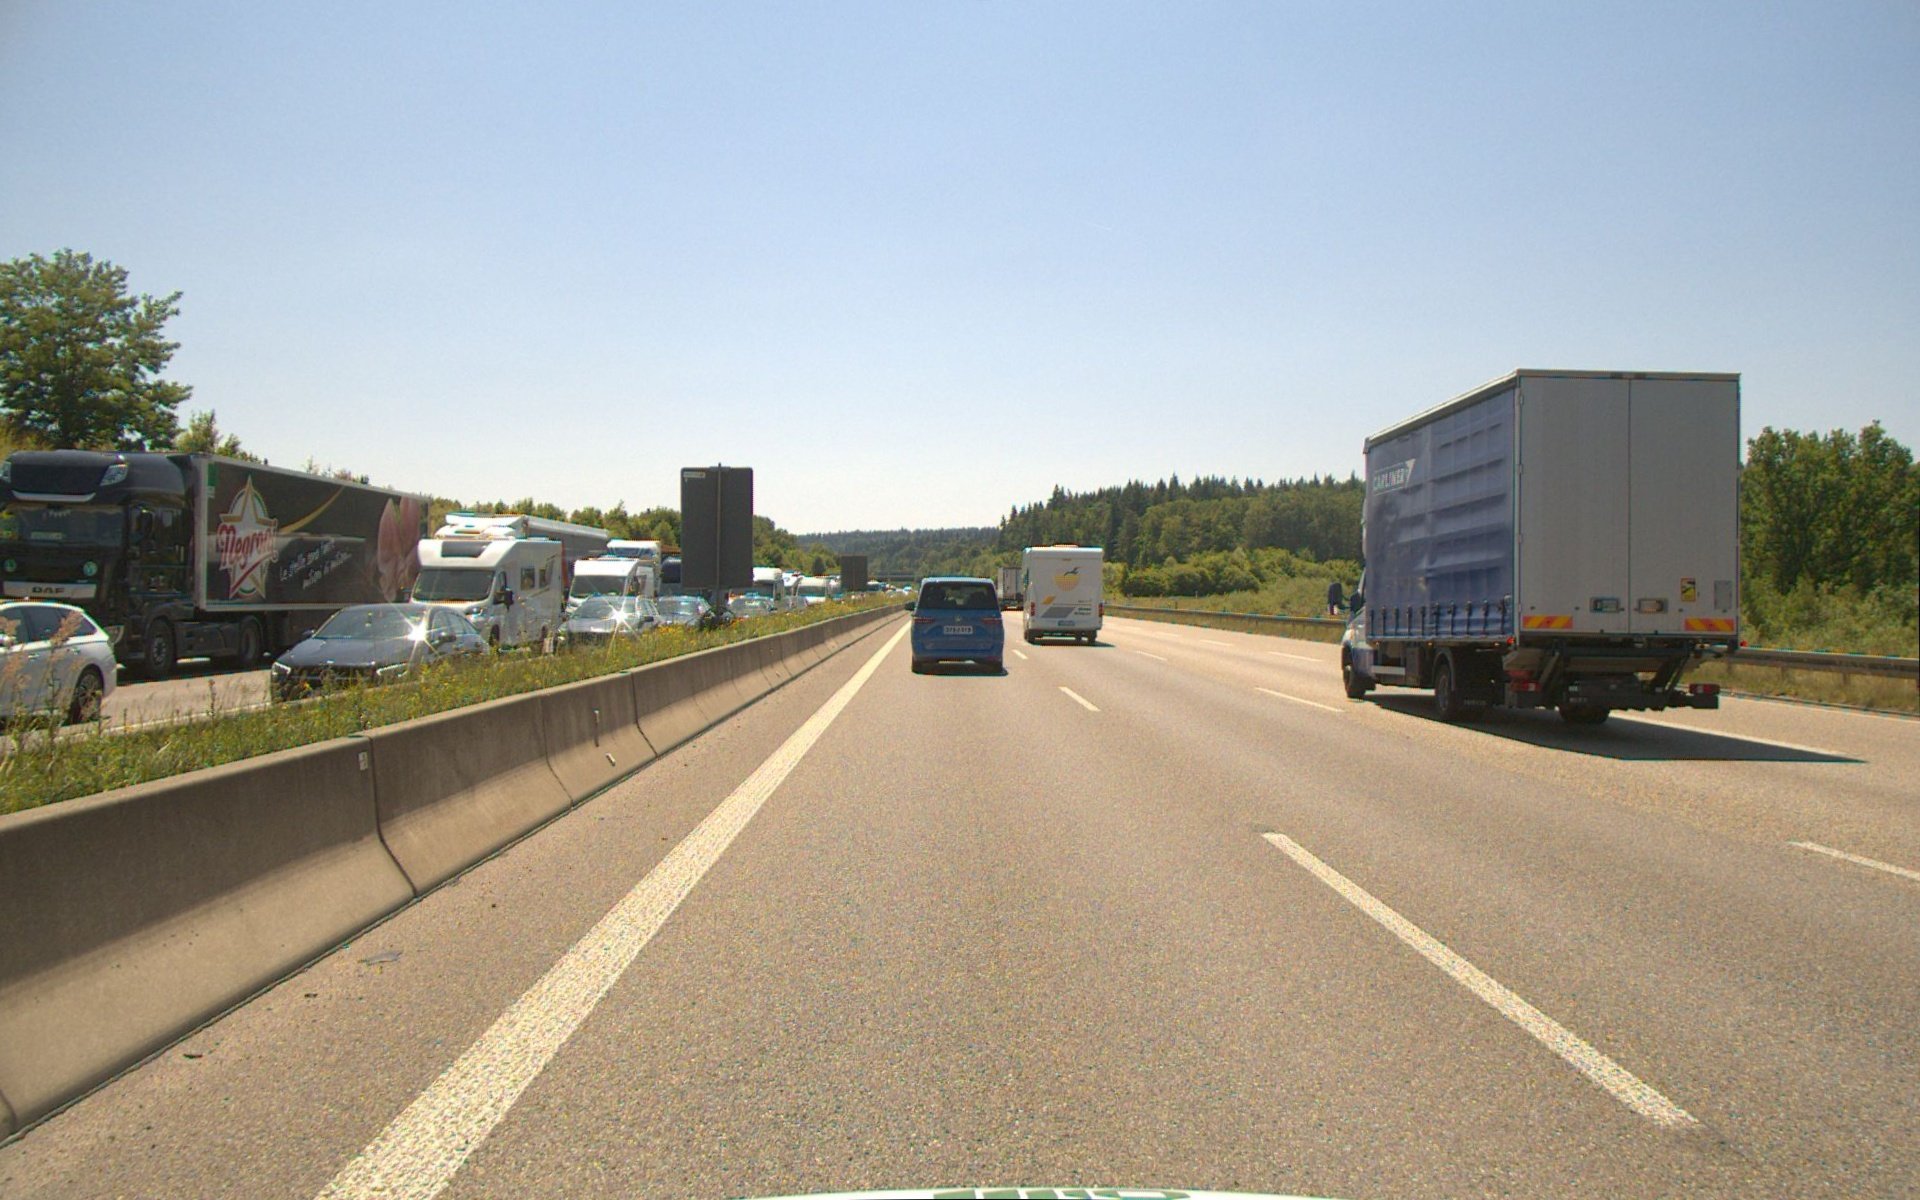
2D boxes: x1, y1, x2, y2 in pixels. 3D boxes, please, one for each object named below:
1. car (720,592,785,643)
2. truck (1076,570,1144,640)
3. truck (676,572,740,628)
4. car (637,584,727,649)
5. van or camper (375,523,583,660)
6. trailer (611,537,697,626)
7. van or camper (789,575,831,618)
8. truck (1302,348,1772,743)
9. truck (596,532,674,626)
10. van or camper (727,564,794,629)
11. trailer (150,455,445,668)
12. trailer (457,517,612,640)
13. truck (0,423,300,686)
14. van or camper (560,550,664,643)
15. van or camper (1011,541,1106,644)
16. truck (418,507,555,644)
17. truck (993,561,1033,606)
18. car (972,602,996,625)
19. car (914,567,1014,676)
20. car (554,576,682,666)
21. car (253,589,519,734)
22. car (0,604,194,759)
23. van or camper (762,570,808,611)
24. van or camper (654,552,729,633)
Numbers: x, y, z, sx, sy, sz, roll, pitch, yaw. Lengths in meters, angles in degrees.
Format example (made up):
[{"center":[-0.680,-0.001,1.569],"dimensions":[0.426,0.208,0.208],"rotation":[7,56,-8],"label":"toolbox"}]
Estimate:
[{"center":[-7.471,0.628,60.036],"dimensions":[1.775,1.760,4.934],"rotation":[1,0,-1],"label":"car"},{"center":[8.201,0.211,91.439],"dimensions":[2.868,3.637,8.526],"rotation":[-1,1,0],"label":"truck"},{"center":[-12.112,0.007,80.027],"dimensions":[2.189,2.549,6.860],"rotation":[0,0,-1],"label":"truck"},{"center":[-7.932,0.455,47.623],"dimensions":[1.775,1.760,4.972],"rotation":[1,0,-1],"label":"car"},{"center":[-11.587,-0.174,40.717],"dimensions":[2.784,3.000,8.111],"rotation":[1,0,-1],"label":"van or camper"},{"center":[-16.176,-0.917,88.306],"dimensions":[2.559,4.386,11.997],"rotation":[1,0,-1],"label":"trailer"},{"center":[-9.196,-0.198,101.779],"dimensions":[2.148,2.550,6.056],"rotation":[0,0,-1],"label":"van or camper"},{"center":[7.219,-0.568,22.655],"dimensions":[2.727,4.200,9.736],"rotation":[1,0,-2],"label":"truck"},{"center":[-16.037,-0.991,82.102],"dimensions":[2.537,4.401,7.290],"rotation":[1,0,-2],"label":"truck"},{"center":[-8.249,-0.129,68.961],"dimensions":[2.148,2.585,6.415],"rotation":[0,0,-1],"label":"van or camper"},{"center":[-15.269,-0.773,39.341],"dimensions":[2.732,4.315,10.790],"rotation":[1,0,-1],"label":"trailer"},{"center":[-15.606,-0.695,61.844],"dimensions":[2.724,4.104,12.248],"rotation":[1,0,-1],"label":"trailer"},{"center":[-15.159,-0.753,31.122],"dimensions":[2.725,4.380,7.028],"rotation":[0,0,-1],"label":"truck"},{"center":[-11.926,-0.092,57.177],"dimensions":[2.107,2.974,7.223],"rotation":[1,0,-1],"label":"van or camper"},{"center":[3.153,-0.256,54.460],"dimensions":[2.550,3.132,7.181],"rotation":[1,0,-1],"label":"van or camper"},{"center":[-15.492,-0.753,54.565],"dimensions":[2.744,4.200,6.140],"rotation":[1,0,-1],"label":"truck"},{"center":[5.110,-1.534,160.464],"dimensions":[3.416,4.243,8.640],"rotation":[1,0,-1],"label":"truck"},{"center":[1.945,1.061,135.295],"dimensions":[1.781,1.825,3.893],"rotation":[1,0,-1],"label":"car"},{"center":[0.041,0.388,34.197],"dimensions":[1.870,2.048,3.999],"rotation":[2,1,-1],"label":"car"},{"center":[-7.602,0.450,37.298],"dimensions":[1.775,1.841,5.542],"rotation":[1,0,-1],"label":"car"},{"center":[-7.349,0.720,21.781],"dimensions":[1.775,1.662,5.029],"rotation":[1,0,-1],"label":"car"},{"center":[-10.765,0.844,18.832],"dimensions":[1.775,1.570,4.997],"rotation":[1,0,-1],"label":"car"},{"center":[-13.008,-0.662,123.406],"dimensions":[2.492,2.988,7.828],"rotation":[0,0,1],"label":"van or camper"},{"center":[-11.960,-0.315,74.288],"dimensions":[2.266,3.449,7.678],"rotation":[0,0,-1],"label":"van or camper"}]
